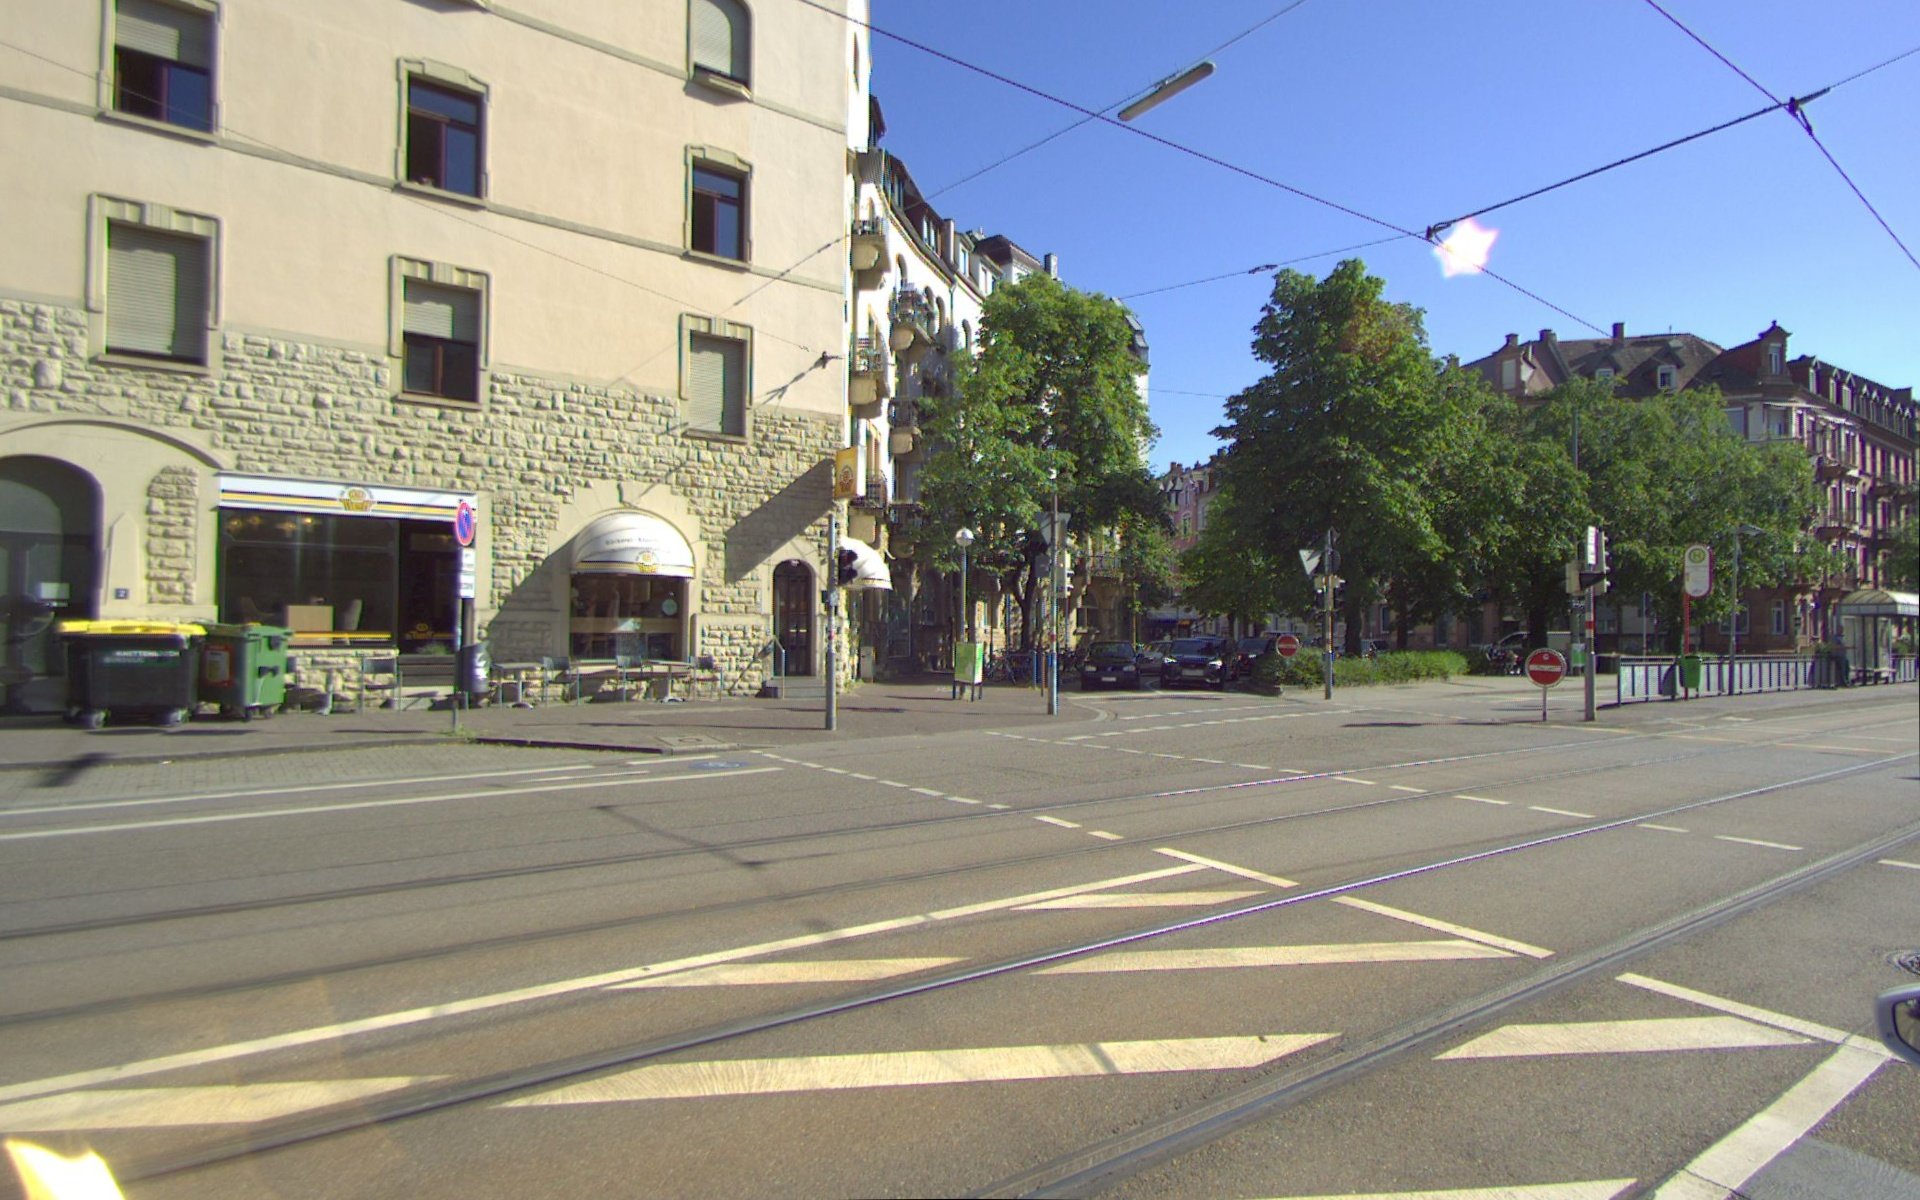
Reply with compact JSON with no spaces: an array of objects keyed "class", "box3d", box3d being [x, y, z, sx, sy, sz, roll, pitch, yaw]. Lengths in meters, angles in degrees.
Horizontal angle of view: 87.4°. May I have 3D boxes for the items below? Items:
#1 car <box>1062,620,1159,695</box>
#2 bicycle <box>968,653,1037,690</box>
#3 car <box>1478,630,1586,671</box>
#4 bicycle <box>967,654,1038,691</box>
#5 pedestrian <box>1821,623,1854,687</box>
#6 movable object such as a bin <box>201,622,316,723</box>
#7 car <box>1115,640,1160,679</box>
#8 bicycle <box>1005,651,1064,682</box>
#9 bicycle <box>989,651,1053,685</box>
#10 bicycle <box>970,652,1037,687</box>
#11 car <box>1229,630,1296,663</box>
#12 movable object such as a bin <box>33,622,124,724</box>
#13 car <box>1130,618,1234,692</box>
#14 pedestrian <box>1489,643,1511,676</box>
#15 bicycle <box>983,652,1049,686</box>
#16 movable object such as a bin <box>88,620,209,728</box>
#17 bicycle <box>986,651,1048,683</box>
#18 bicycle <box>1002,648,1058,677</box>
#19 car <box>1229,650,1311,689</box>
[{"class":"car","box3d":[4.418,1.659,30.075,1.962,2.040,3.998,2,-2,-5]},{"class":"bicycle","box3d":[1.279,2.124,29.907,1.997,0.993,0.611,1,-1,4]},{"class":"car","box3d":[31.025,2.701,54.574,4.946,2.040,1.994,0,-2,35]},{"class":"bicycle","box3d":[1.239,2.100,29.110,1.997,0.993,0.611,1,-1,4]},{"class":"pedestrian","box3d":[25.622,1.602,29.337,0.574,1.818,0.602,2,-2,-36]},{"class":"movable object such as a bin","box3d":[-10.217,1.031,14.667,0.840,1.399,1.028,1,-1,11]},{"class":"car","box3d":[7.308,2.409,41.301,1.718,1.450,4.003,-1,-2,10]},{"class":"bicycle","box3d":[2.566,2.277,34.687,1.997,0.993,0.611,1,-1,4]},{"class":"bicycle","box3d":[1.970,2.174,32.302,1.997,0.993,0.611,1,-1,4]},{"class":"bicycle","box3d":[1.338,2.120,30.692,1.997,0.993,0.611,1,-1,4]},{"class":"car","box3d":[20.222,3.063,67.339,1.969,2.040,4.570,2,-2,-18]},{"class":"movable object such as a bin","box3d":[-12.066,0.986,13.775,0.648,1.343,0.853,2,-1,-22]},{"class":"car","box3d":[6.643,1.624,30.492,1.962,2.040,3.998,2,-2,-5]},{"class":"pedestrian","box3d":[20.091,2.199,37.382,0.598,1.217,0.577,-2,-3,38]},{"class":"bicycle","box3d":[1.760,2.157,31.463,1.997,0.993,0.611,1,-1,4]},{"class":"movable object such as a bin","box3d":[-10.944,0.988,13.596,1.012,1.399,0.853,2,-1,-22]},{"class":"bicycle","box3d":[1.885,2.209,33.300,1.997,0.993,0.611,1,-1,4]},{"class":"bicycle","box3d":[2.555,2.266,36.701,1.997,0.993,0.611,1,-1,4]},{"class":"car","box3d":[12.958,2.840,41.836,1.729,1.450,3.978,-2,-2,42]}]
